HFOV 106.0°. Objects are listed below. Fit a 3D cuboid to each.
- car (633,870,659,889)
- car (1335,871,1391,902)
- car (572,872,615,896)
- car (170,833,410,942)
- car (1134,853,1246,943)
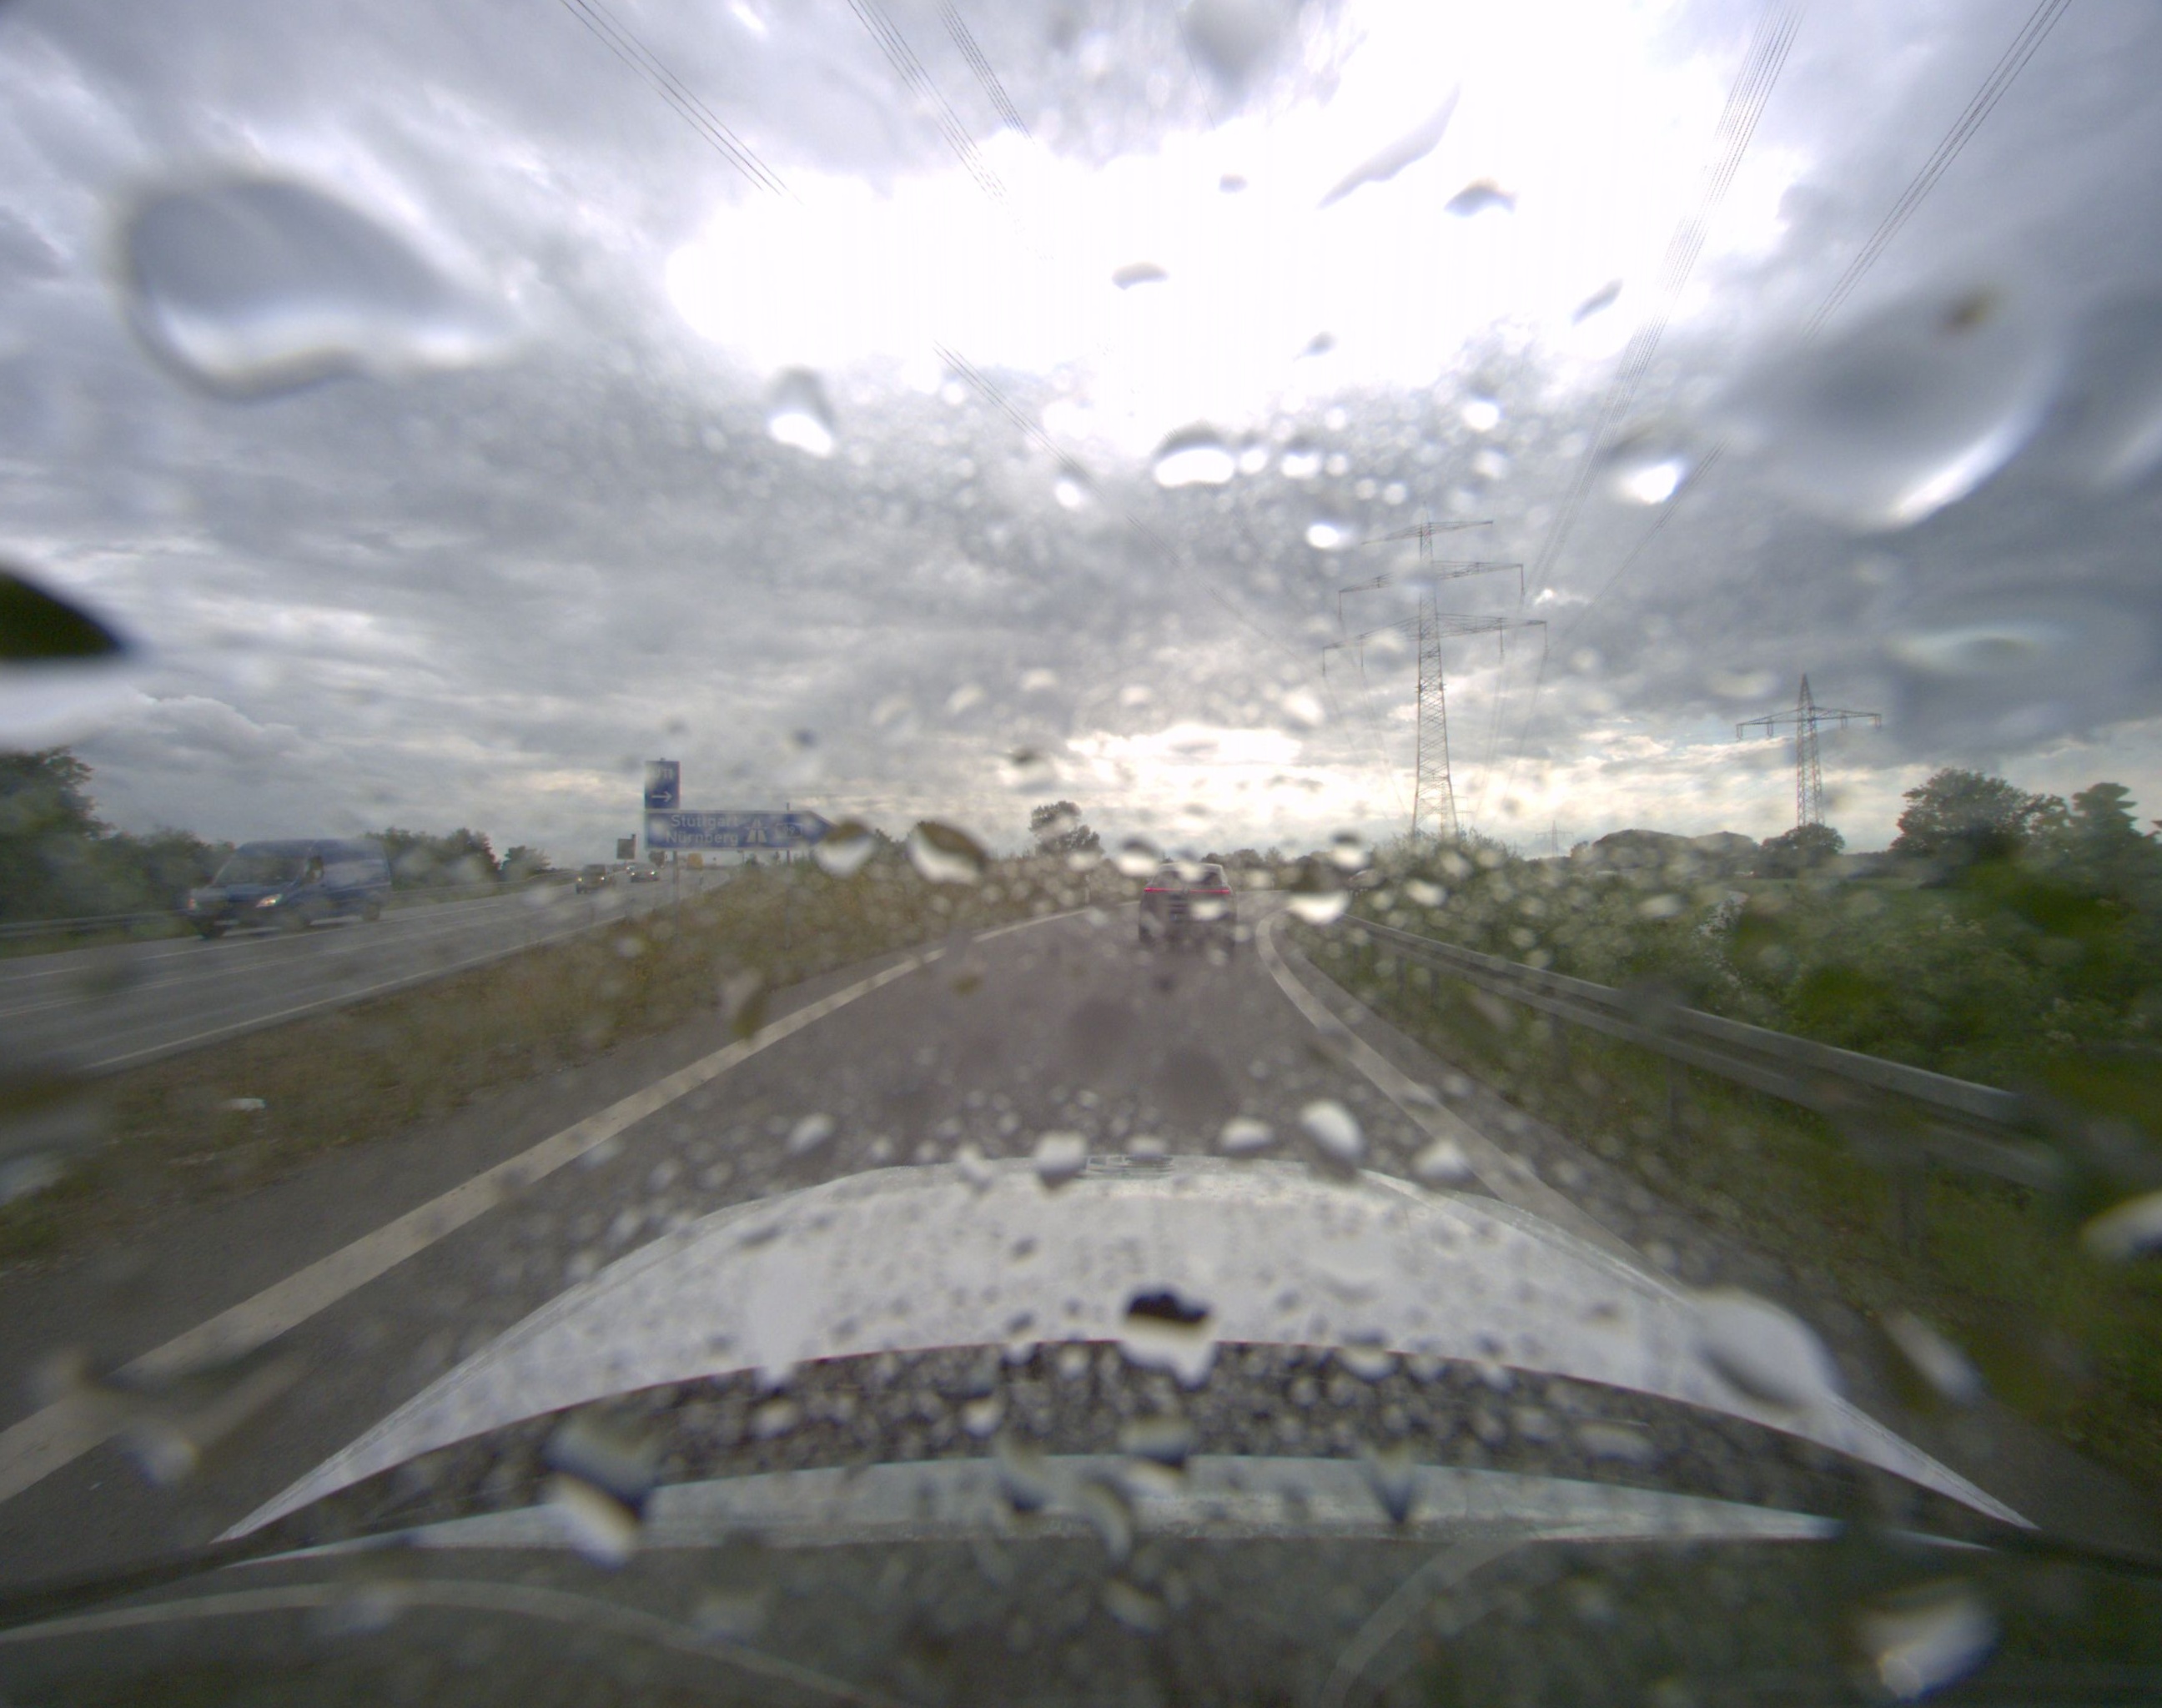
[{"bbox_3d":[-33.950,1.956,63.653,1.482,1.350,3.685,1,-1,-24],"label":"car"},{"bbox_3d":[19.048,2.168,54.794,2.100,2.018,5.569,-2,-3,35],"label":"car"},{"bbox_3d":[-26.283,1.615,43.992,1.436,1.176,3.111,1,-1,-21],"label":"car"},{"bbox_3d":[-22.797,0.879,23.984,2.331,2.726,6.249,-1,-1,-16],"label":"car"},{"bbox_3d":[2.347,0.785,16.655,1.981,1.566,4.162,1,0,11],"label":"car"}]
